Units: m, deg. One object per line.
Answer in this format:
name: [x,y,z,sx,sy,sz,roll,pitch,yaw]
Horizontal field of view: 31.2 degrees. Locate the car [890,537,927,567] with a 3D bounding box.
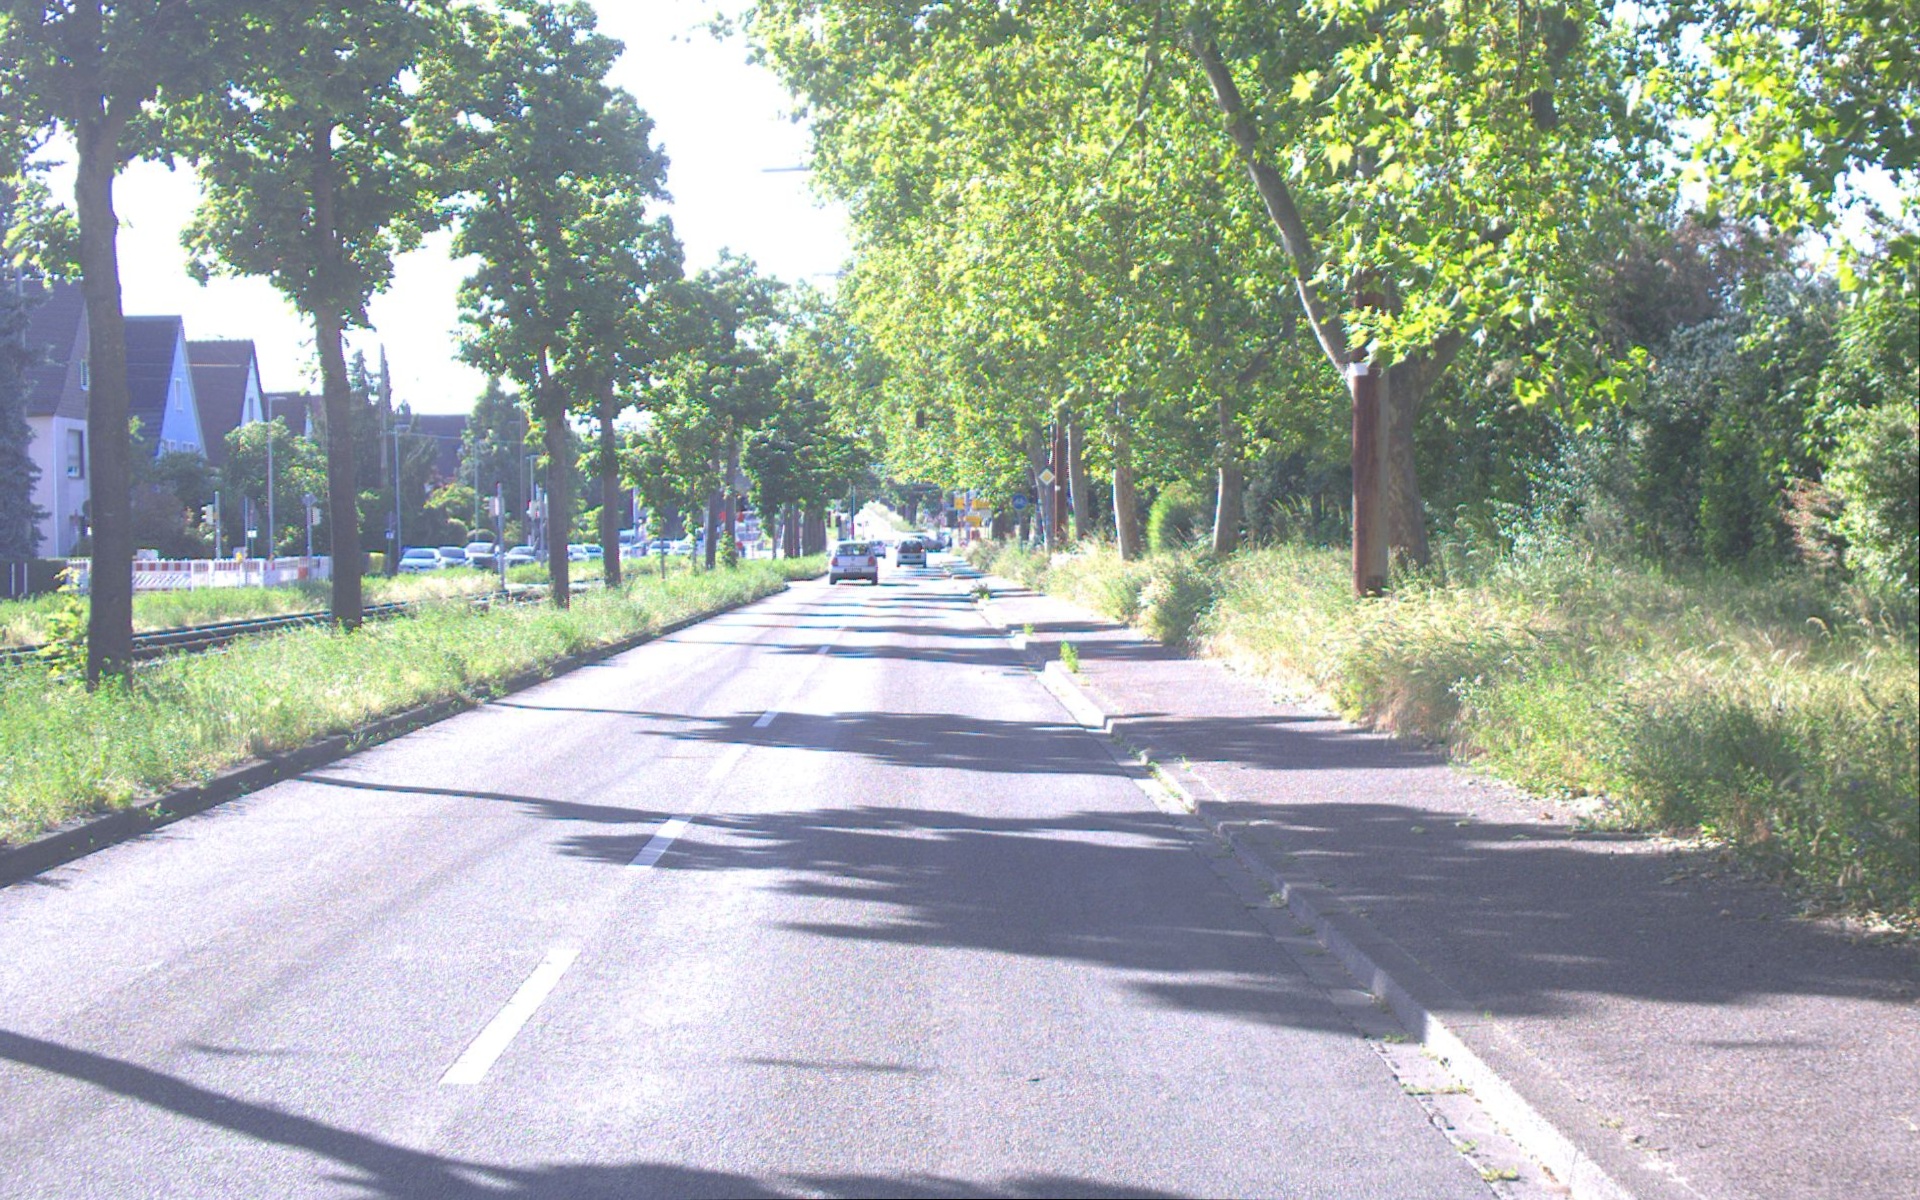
car: [-2.836,-2.638,189.265,1.993,1.598,4.474,0,1,-1]

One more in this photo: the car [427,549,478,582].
car: [-23.319,-1.596,158.079,1.729,1.461,4.603,0,1,-1]

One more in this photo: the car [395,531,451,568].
car: [-23.287,-2.200,149.202,1.860,1.537,4.228,0,1,-1]

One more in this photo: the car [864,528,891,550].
car: [-6.271,-4.625,261.025,1.993,1.598,4.474,0,1,-1]

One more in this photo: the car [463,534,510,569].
car: [-23.336,-2.400,169.465,1.748,1.645,4.556,0,1,-1]

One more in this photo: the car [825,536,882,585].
car: [-3.550,-1.344,115.513,1.860,1.595,4.228,0,1,-1]
